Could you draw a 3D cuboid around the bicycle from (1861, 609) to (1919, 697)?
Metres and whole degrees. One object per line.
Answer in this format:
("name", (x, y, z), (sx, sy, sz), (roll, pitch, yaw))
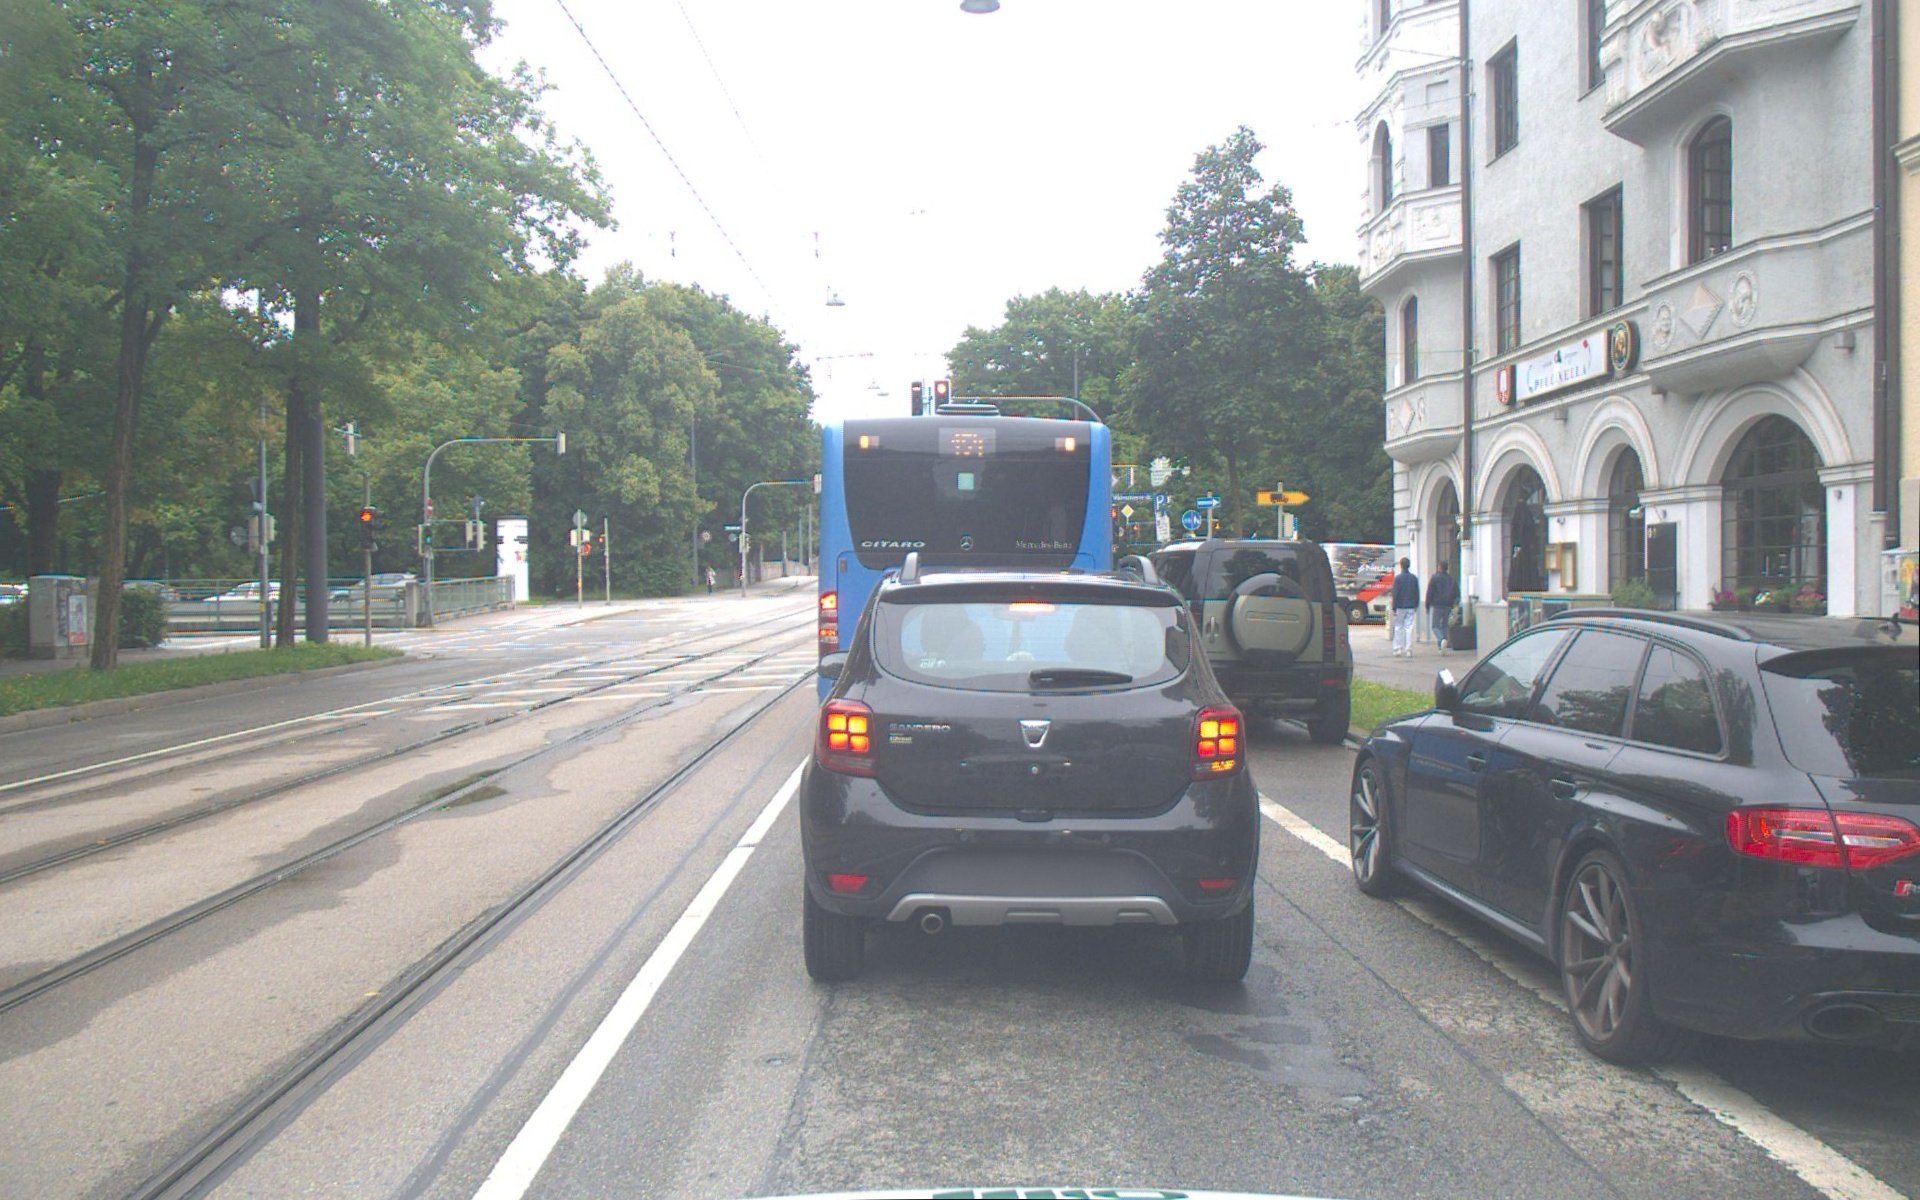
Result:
("bicycle", (10.436, 0.581, 18.474), (0.254, 0.947, 0.886), (1, 0, 0))

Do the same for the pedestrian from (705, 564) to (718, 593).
("pedestrian", (-13.250, -1.133, 88.219), (0.520, 1.527, 0.588), (1, 0, 4))

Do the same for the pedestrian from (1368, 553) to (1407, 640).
("pedestrian", (10.208, -0.095, 39.469), (0.700, 2.049, 0.674), (-1, 0, -4))

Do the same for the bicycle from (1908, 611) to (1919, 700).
("bicycle", (10.451, 0.600, 17.537), (0.285, 0.947, 0.886), (1, 0, 0))

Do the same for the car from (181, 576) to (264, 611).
("car", (-32.430, -0.275, 72.764), (3.050, 1.477, 1.249), (1, 0, -6))

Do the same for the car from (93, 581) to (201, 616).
("car", (-35.656, -0.066, 72.565), (3.848, 1.429, 1.719), (1, 0, -5))

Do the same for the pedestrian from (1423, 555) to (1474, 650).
("pedestrian", (9.252, 0.036, 31.339), (0.690, 1.762, 0.843), (1, 0, -1))

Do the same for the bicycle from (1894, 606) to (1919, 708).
("bicycle", (10.044, 0.593, 16.941), (0.237, 1.057, 1.223), (1, 0, -1))

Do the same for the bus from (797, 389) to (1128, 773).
("bus", (-0.126, -0.169, 16.839), (2.625, 3.050, 6.957), (1, 0, -3))

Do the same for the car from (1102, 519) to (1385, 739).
("car", (2.757, 0.250, 17.236), (1.876, 1.939, 4.805), (1, 0, -3))

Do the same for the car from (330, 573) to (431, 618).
("car", (-25.714, -0.202, 73.504), (3.946, 1.920, 1.488), (1, 0, -8))

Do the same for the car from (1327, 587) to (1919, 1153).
("car", (2.871, 0.694, 6.580), (1.681, 1.451, 4.601), (1, 0, -1))

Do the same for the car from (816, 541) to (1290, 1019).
("car", (0.276, 0.600, 7.326), (1.568, 1.584, 3.524), (1, 0, -1))

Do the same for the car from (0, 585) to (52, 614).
("car", (-41.802, -0.044, 72.071), (3.656, 1.206, 1.249), (1, 0, -6))

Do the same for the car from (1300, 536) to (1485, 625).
("car", (13.612, -0.599, 52.258), (5.191, 2.658, 2.229), (1, 0, -4))

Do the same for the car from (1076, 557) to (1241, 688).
("car", (2.647, 0.272, 22.945), (1.679, 1.619, 4.326), (1, 0, -1))

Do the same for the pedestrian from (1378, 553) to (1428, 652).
("pedestrian", (8.479, 0.044, 31.679), (0.690, 1.848, 0.869), (1, 0, -1))
